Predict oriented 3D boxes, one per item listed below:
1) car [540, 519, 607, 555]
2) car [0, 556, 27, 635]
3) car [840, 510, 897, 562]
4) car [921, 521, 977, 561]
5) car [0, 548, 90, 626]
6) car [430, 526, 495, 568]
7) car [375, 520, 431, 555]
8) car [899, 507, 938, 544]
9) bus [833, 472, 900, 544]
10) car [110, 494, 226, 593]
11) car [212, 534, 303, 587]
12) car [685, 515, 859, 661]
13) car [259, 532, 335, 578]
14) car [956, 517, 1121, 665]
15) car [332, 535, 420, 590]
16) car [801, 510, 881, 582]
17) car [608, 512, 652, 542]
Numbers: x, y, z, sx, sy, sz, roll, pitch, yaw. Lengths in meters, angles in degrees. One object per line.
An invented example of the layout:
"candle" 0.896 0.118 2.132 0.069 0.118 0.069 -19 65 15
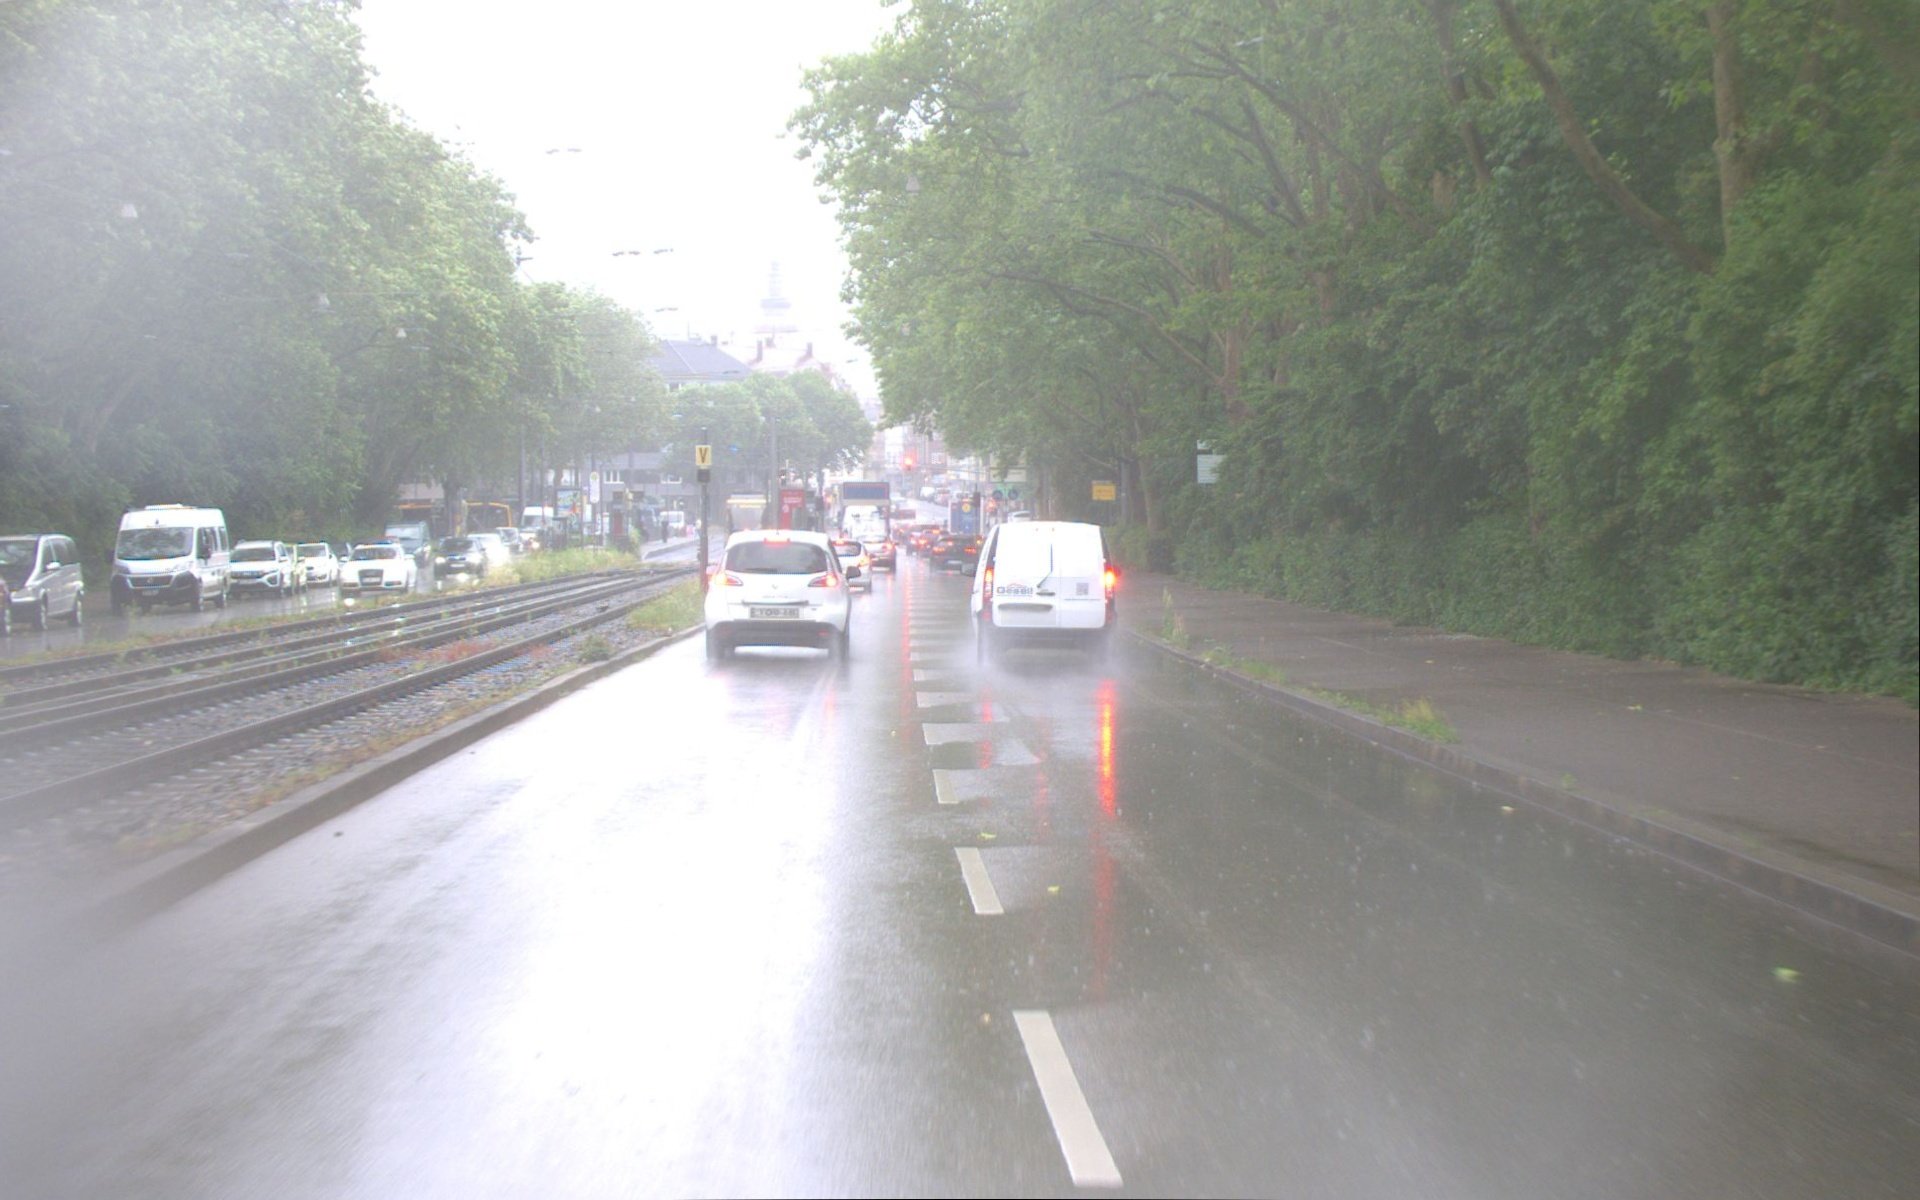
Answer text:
"car" -16.125 -2.641 143.454 1.805 1.345 4.263 -2 2 7
"car" -17.802 -0.032 60.950 1.506 1.345 4.028 -2 2 -2
"car" -3.447 -2.424 129.549 1.993 1.820 4.001 1 2 0
"car" -0.383 -2.140 124.610 1.993 1.316 4.001 1 2 0
"car" -18.137 -0.262 66.844 1.506 1.345 4.028 -2 2 -2
"car" -17.830 -1.928 123.443 1.805 1.345 4.264 -2 2 -2
"car" -23.787 -2.700 146.877 1.805 1.345 4.264 -2 2 -2
"car" -2.190 -3.935 181.413 1.993 1.820 4.001 1 2 0
"bus" -5.189 -5.197 192.526 3.389 3.823 9.739 1 2 0
"car" -18.797 -1.375 81.743 1.800 2.214 4.278 -2 2 -2
"car" -19.930 -1.142 97.707 1.805 1.345 4.264 -2 2 -2
"car" -2.383 -0.194 44.495 1.993 1.711 4.001 1 2 0
"car" -22.209 -1.525 115.227 1.805 1.345 4.264 -2 2 -2
"car" 0.965 -0.163 44.202 1.993 1.720 4.001 1 2 0
"car" -16.261 -1.064 95.845 1.805 1.345 4.264 -2 2 -2
"car" -3.185 -1.484 92.862 1.993 1.820 4.001 1 2 0
"car" -16.143 -3.592 168.265 1.805 1.345 4.264 -2 2 -2
